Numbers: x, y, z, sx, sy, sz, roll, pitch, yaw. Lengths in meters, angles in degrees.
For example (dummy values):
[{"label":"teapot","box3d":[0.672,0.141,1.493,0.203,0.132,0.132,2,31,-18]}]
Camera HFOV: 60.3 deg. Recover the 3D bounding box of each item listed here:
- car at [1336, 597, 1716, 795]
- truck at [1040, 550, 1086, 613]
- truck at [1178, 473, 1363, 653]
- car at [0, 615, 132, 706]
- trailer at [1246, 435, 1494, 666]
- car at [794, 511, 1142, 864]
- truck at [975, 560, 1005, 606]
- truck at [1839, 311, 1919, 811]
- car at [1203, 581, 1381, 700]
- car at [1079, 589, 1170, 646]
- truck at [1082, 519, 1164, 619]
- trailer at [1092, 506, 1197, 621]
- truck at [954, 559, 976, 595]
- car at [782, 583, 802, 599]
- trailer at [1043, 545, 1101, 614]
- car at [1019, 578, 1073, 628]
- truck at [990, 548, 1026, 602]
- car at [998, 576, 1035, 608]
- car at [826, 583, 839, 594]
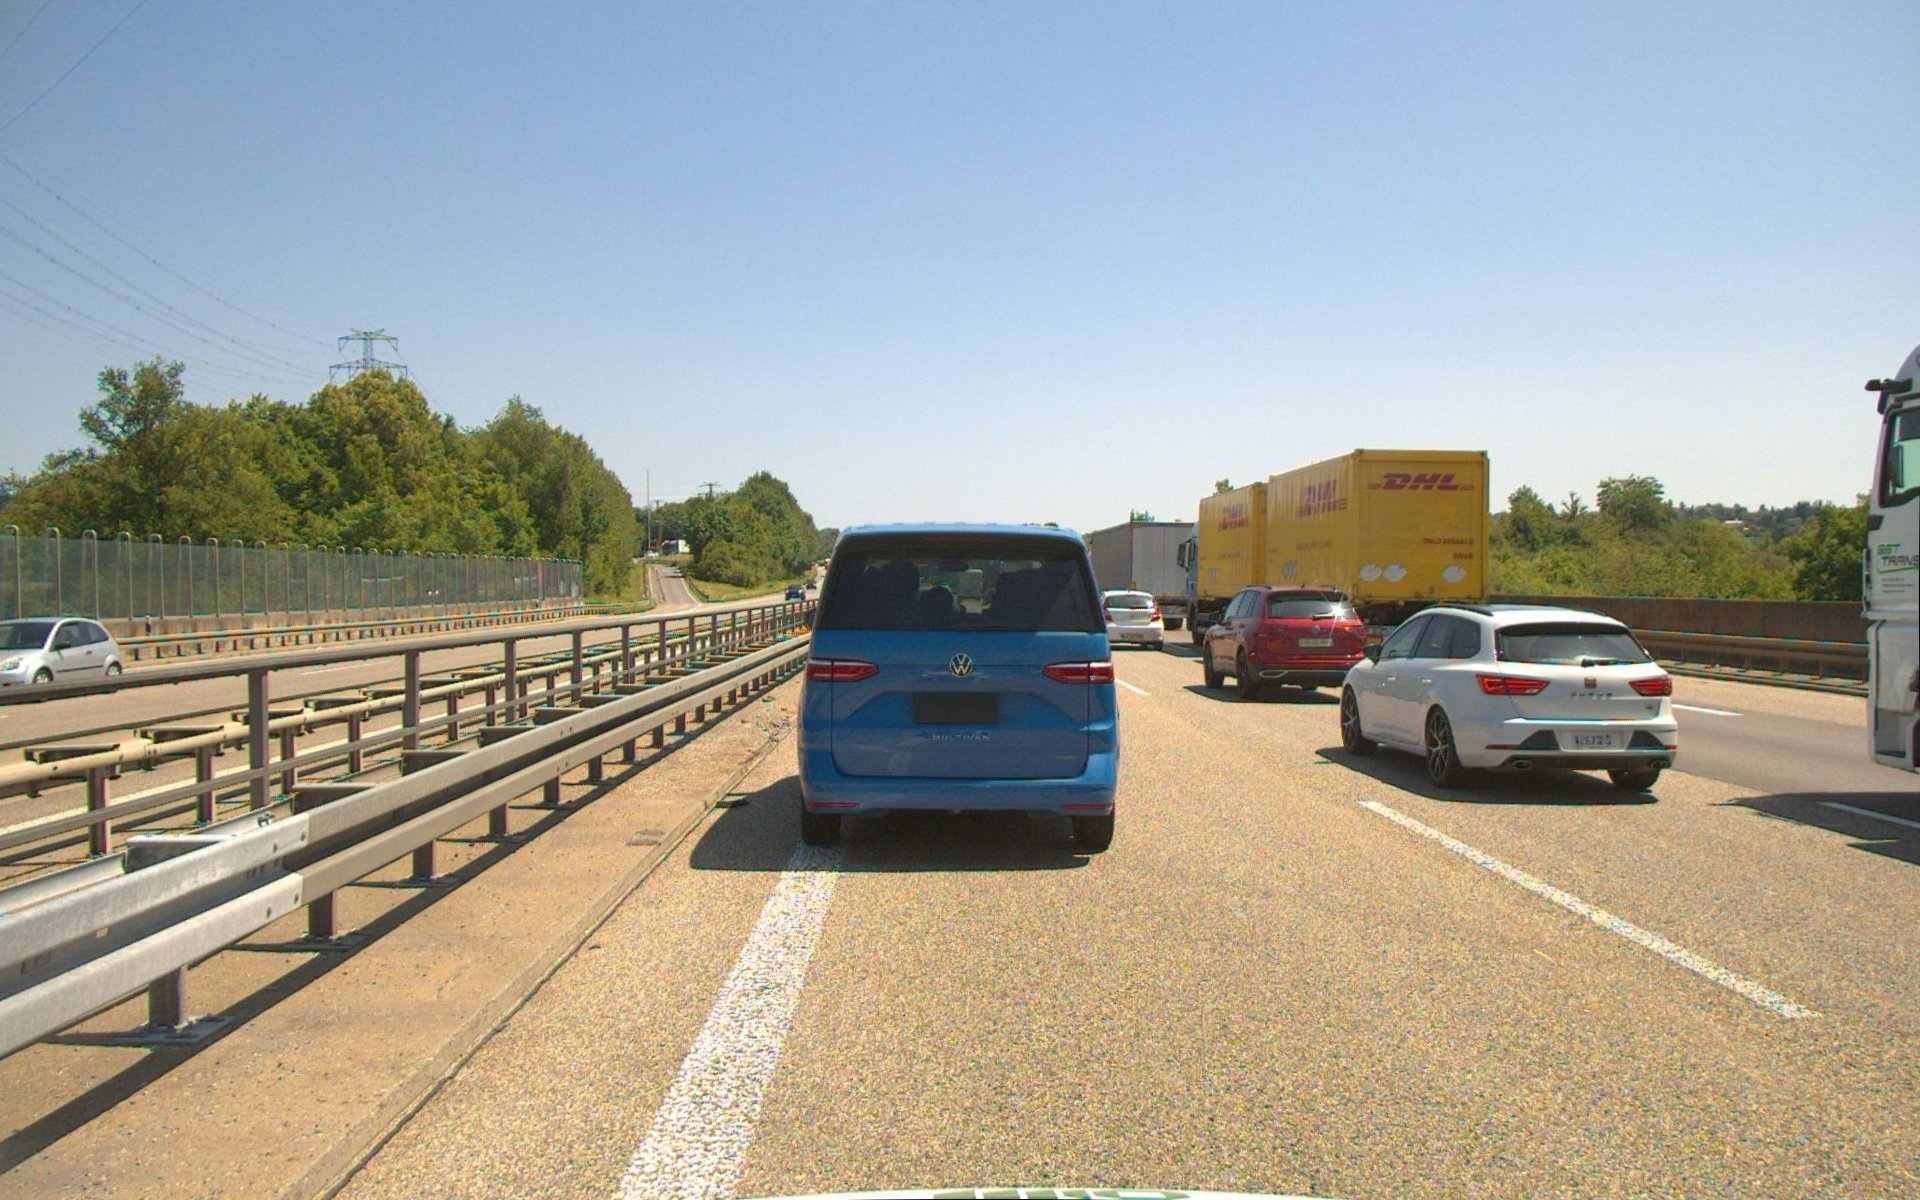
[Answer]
[{"label":"car","box3d":[4.592,0.695,14.113,1.745,1.411,4.187,1,0,-1]},{"label":"truck","box3d":[6.441,-1.122,103.891,2.320,3.787,6.031,1,0,-2]},{"label":"truck","box3d":[7.919,-0.841,43.712,2.667,4.125,10.333,1,0,-1]},{"label":"car","box3d":[-16.360,1.038,29.275,1.572,1.418,3.676,-2,1,-1]},{"label":"trailer","box3d":[8.121,-0.868,34.074,2.647,4.094,8.928,1,0,-1]},{"label":"car","box3d":[0.013,0.458,10.816,1.844,1.869,3.999,0,0,-1]},{"label":"truck","box3d":[3.461,-1.908,192.910,2.777,5.128,11.810,1,0,-2]},{"label":"truck","box3d":[8.504,-0.275,7.791,2.793,3.666,10.766,1,0,-1]},{"label":"car","box3d":[4.901,0.542,24.948,1.813,1.636,3.999,1,0,-1]},{"label":"car","box3d":[4.238,0.425,43.186,1.801,1.438,3.998,0,0,-3]},{"label":"truck","box3d":[7.181,-1.299,73.856,2.712,4.167,6.981,1,0,-2]},{"label":"trailer","box3d":[7.312,-1.336,67.084,2.699,4.219,11.309,1,0,-1]},{"label":"truck","box3d":[0.716,-3.581,261.260,2.777,5.467,12.548,1,0,-2]},{"label":"car","box3d":[-17.478,-0.896,172.129,1.744,1.596,4.385,-2,0,-1]},{"label":"trailer","box3d":[6.570,-1.133,98.027,2.331,3.809,11.184,1,0,-1]},{"label":"car","box3d":[3.180,0.086,61.534,1.680,1.614,3.821,-3,2,-1]},{"label":"truck","box3d":[4.745,-2.382,164.981,2.777,5.128,11.140,1,0,-2]},{"label":"car","box3d":[2.924,-0.413,85.948,1.680,1.567,3.820,-1,0,-1]},{"label":"car","box3d":[-19.569,-1.720,254.203,1.719,1.574,3.999,-2,0,-1]}]
